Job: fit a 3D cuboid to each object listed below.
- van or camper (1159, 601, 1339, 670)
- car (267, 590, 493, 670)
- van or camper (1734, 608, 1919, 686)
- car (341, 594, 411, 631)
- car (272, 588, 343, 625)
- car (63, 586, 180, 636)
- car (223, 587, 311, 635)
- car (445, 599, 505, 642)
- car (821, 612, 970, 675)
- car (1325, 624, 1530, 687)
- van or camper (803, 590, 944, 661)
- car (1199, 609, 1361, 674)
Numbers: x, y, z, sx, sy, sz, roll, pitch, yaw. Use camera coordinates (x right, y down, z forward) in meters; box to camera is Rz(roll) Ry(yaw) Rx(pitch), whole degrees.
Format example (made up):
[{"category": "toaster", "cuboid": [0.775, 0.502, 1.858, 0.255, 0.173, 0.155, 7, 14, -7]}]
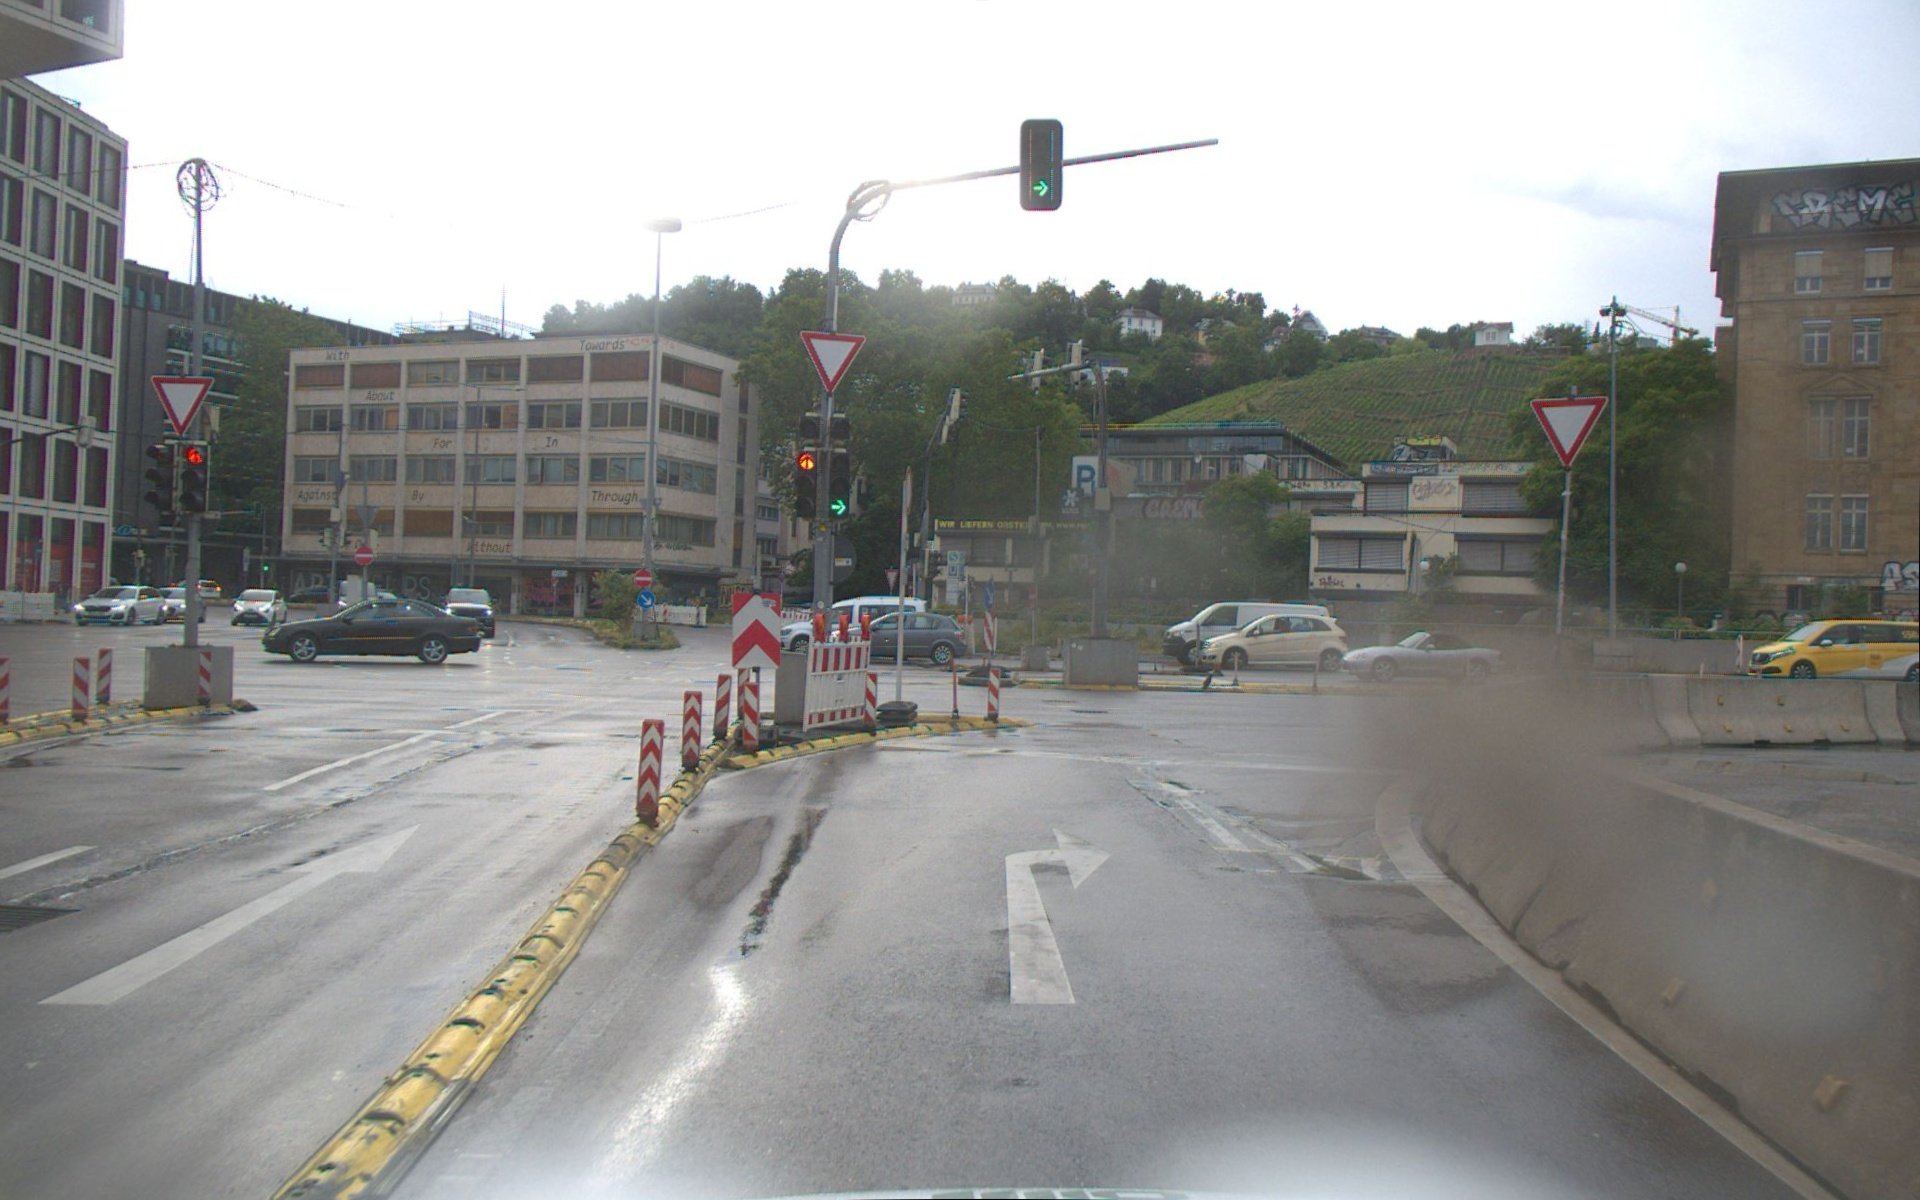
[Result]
[{"category": "van or camper", "cuboid": [8.814, 1.067, 50.674, 5.094, 1.927, 1.886, 2, 0, -5]}, {"category": "car", "cuboid": [-12.846, 0.669, 36.723, 4.583, 1.626, 2.005, 2, 0, -22]}, {"category": "van or camper", "cuboid": [25.658, 1.347, 47.861, 5.476, 2.090, 2.246, 2, 0, -1]}, {"category": "car", "cuboid": [-25.807, 0.543, 72.981, 1.869, 1.584, 3.949, 2, -1, -36]}, {"category": "car", "cuboid": [-40.417, 0.420, 102.433, 3.913, 2.049, 1.996, 3, -1, 30]}, {"category": "car", "cuboid": [-31.483, 0.414, 62.280, 2.178, 1.784, 4.808, 1, -1, -4]}, {"category": "car", "cuboid": [-28.434, 0.424, 67.954, 1.762, 1.847, 4.001, 2, 0, 2]}, {"category": "car", "cuboid": [-18.403, 0.745, 62.851, 1.798, 1.512, 3.989, 2, 0, -11]}, {"category": "car", "cuboid": [-1.858, 1.230, 46.938, 4.086, 1.626, 1.849, 2, 0, -5]}, {"category": "car", "cuboid": [11.174, 1.313, 39.687, 4.424, 1.332, 1.642, 2, 0, -3]}, {"category": "van or camper", "cuboid": [-2.648, 0.759, 50.226, 4.159, 2.013, 1.849, 2, 0, -5]}, {"category": "car", "cuboid": [9.146, 1.184, 47.539, 4.276, 1.703, 1.848, 2, 0, 0]}]
